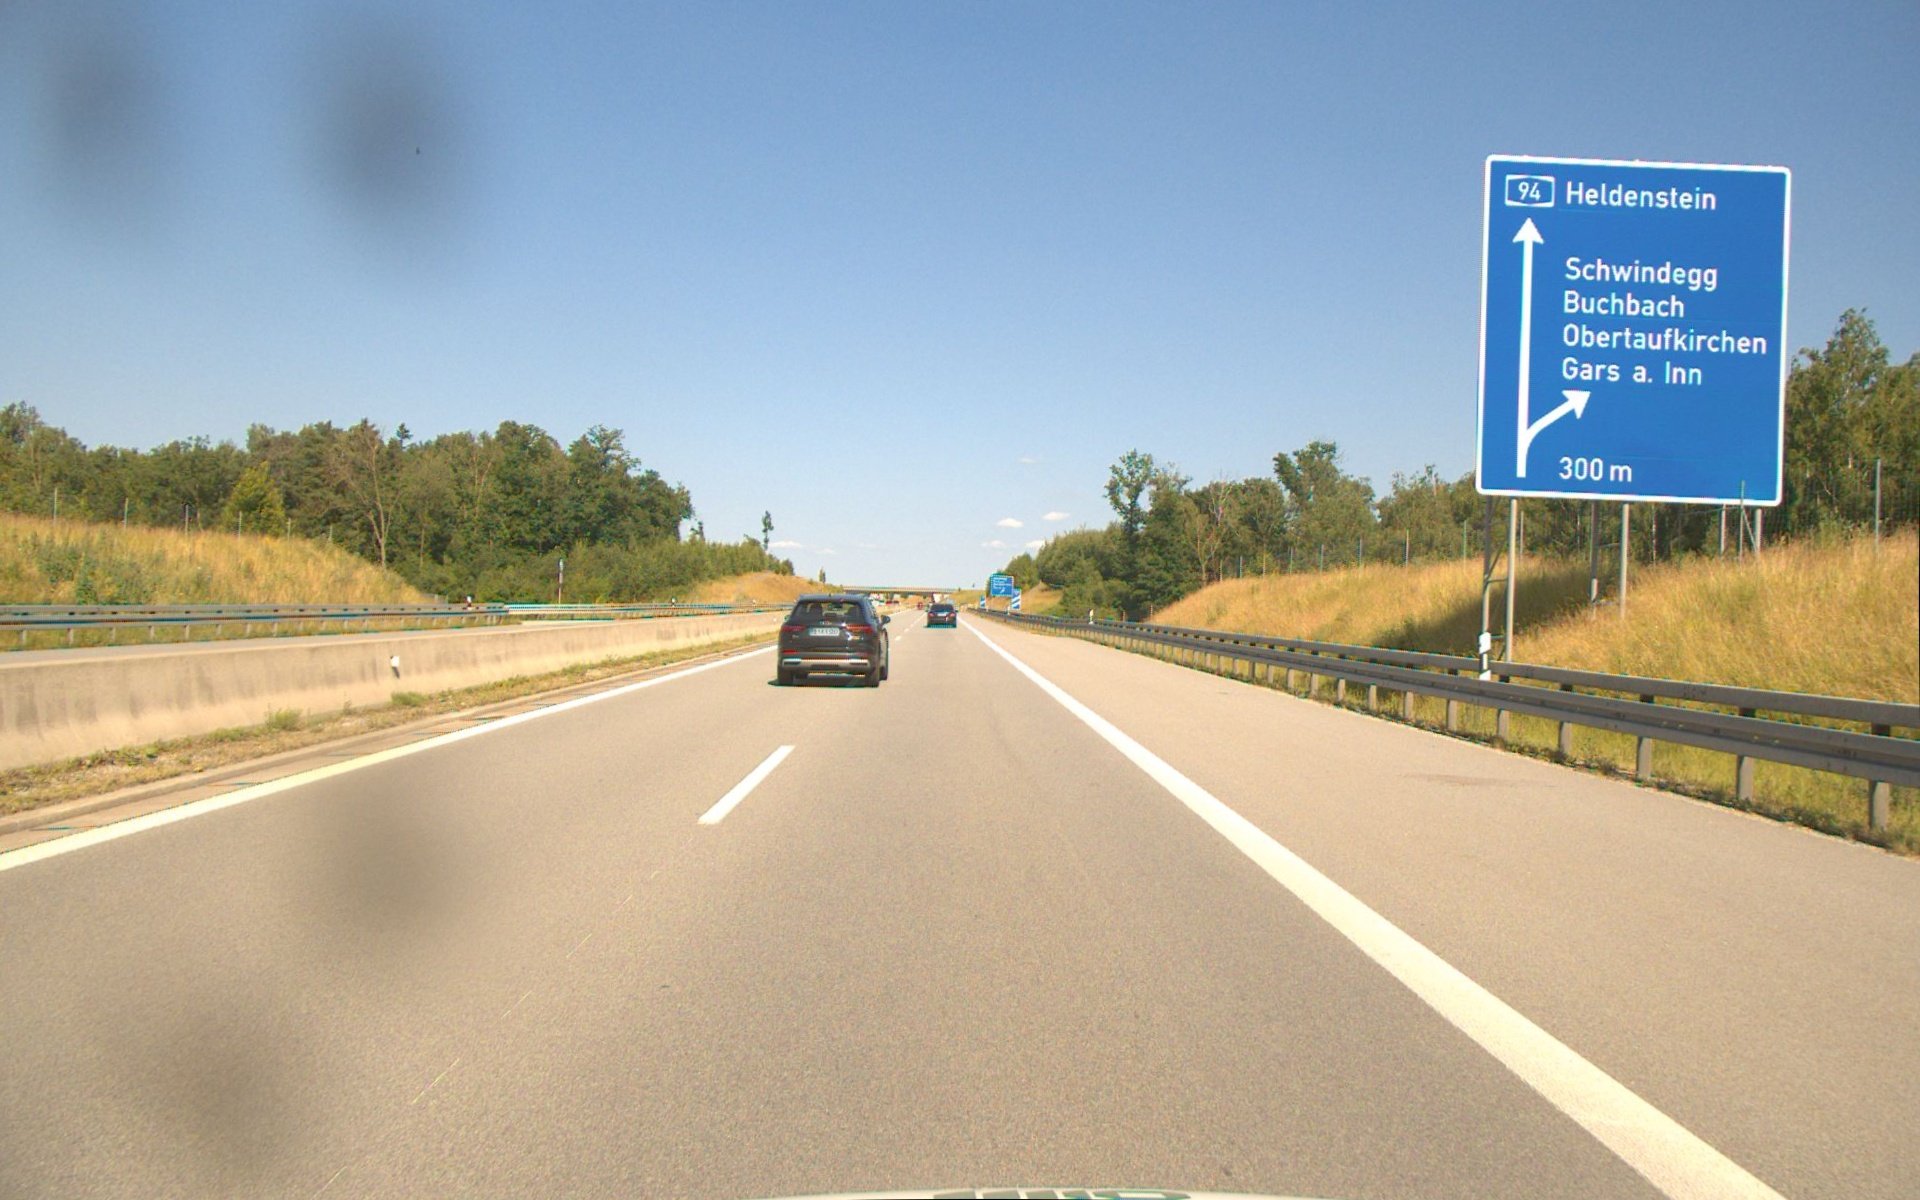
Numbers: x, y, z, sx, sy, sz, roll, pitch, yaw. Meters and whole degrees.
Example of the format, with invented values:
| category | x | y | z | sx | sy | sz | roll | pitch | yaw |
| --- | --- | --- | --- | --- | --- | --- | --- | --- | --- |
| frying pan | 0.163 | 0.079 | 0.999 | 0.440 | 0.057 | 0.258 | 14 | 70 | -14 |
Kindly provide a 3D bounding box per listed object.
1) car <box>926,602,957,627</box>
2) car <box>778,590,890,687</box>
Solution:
| category | x | y | z | sx | sy | sz | roll | pitch | yaw |
| --- | --- | --- | --- | --- | --- | --- | --- | --- | --- |
| car | -1.084 | 0.855 | 97.449 | 1.753 | 1.398 | 3.916 | 1 | 0 | -1 |
| car | -2.243 | 0.651 | 30.600 | 1.687 | 1.615 | 5.221 | 1 | 0 | 0 |
